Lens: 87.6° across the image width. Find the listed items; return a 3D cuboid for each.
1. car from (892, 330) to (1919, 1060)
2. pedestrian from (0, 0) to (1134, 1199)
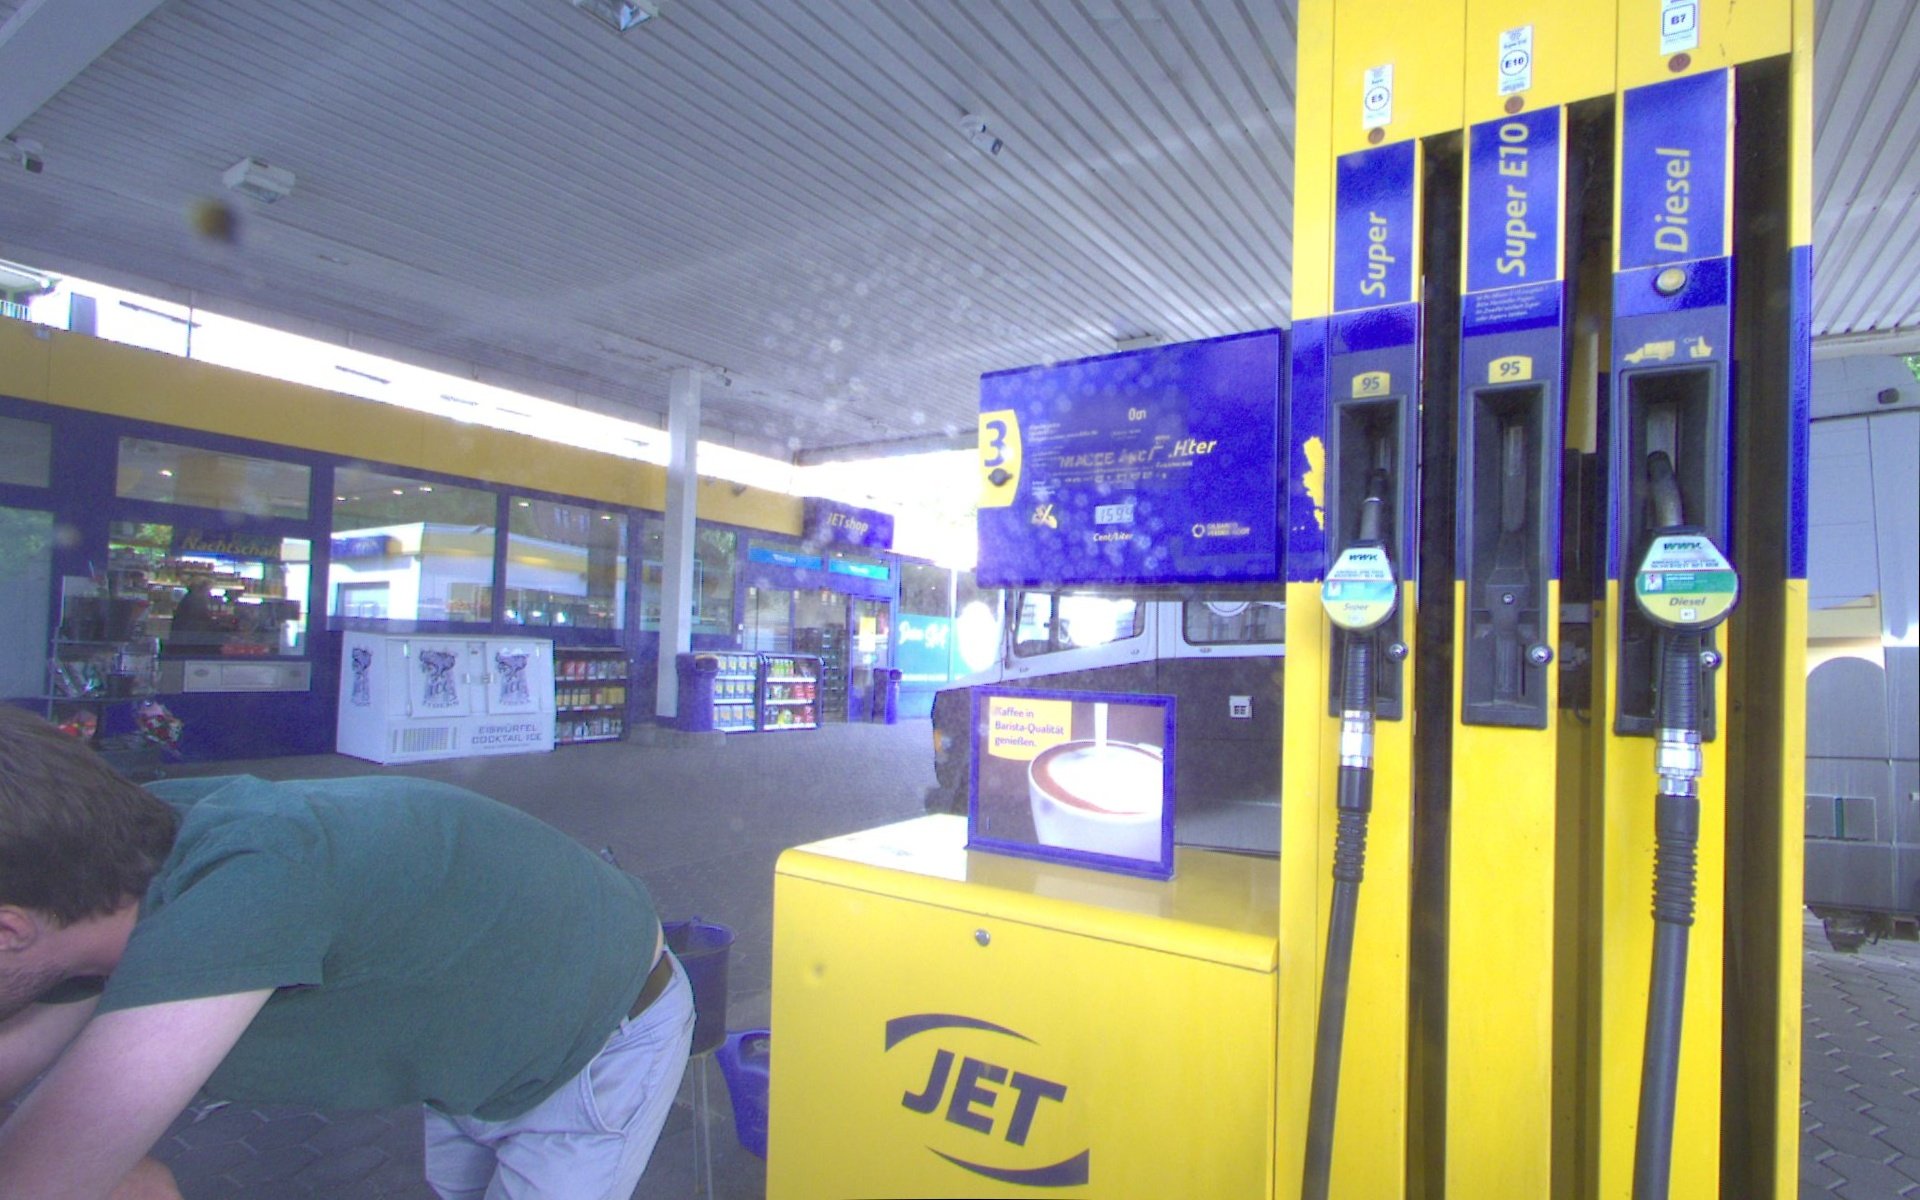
[{"bbox_3d":[2.354,0.436,6.003,5.271,2.759,2.193,-1,-3,34],"label":"car"},{"bbox_3d":[-0.518,0.580,1.086,0.981,1.750,1.175,-2,-2,36],"label":"pedestrian"}]
